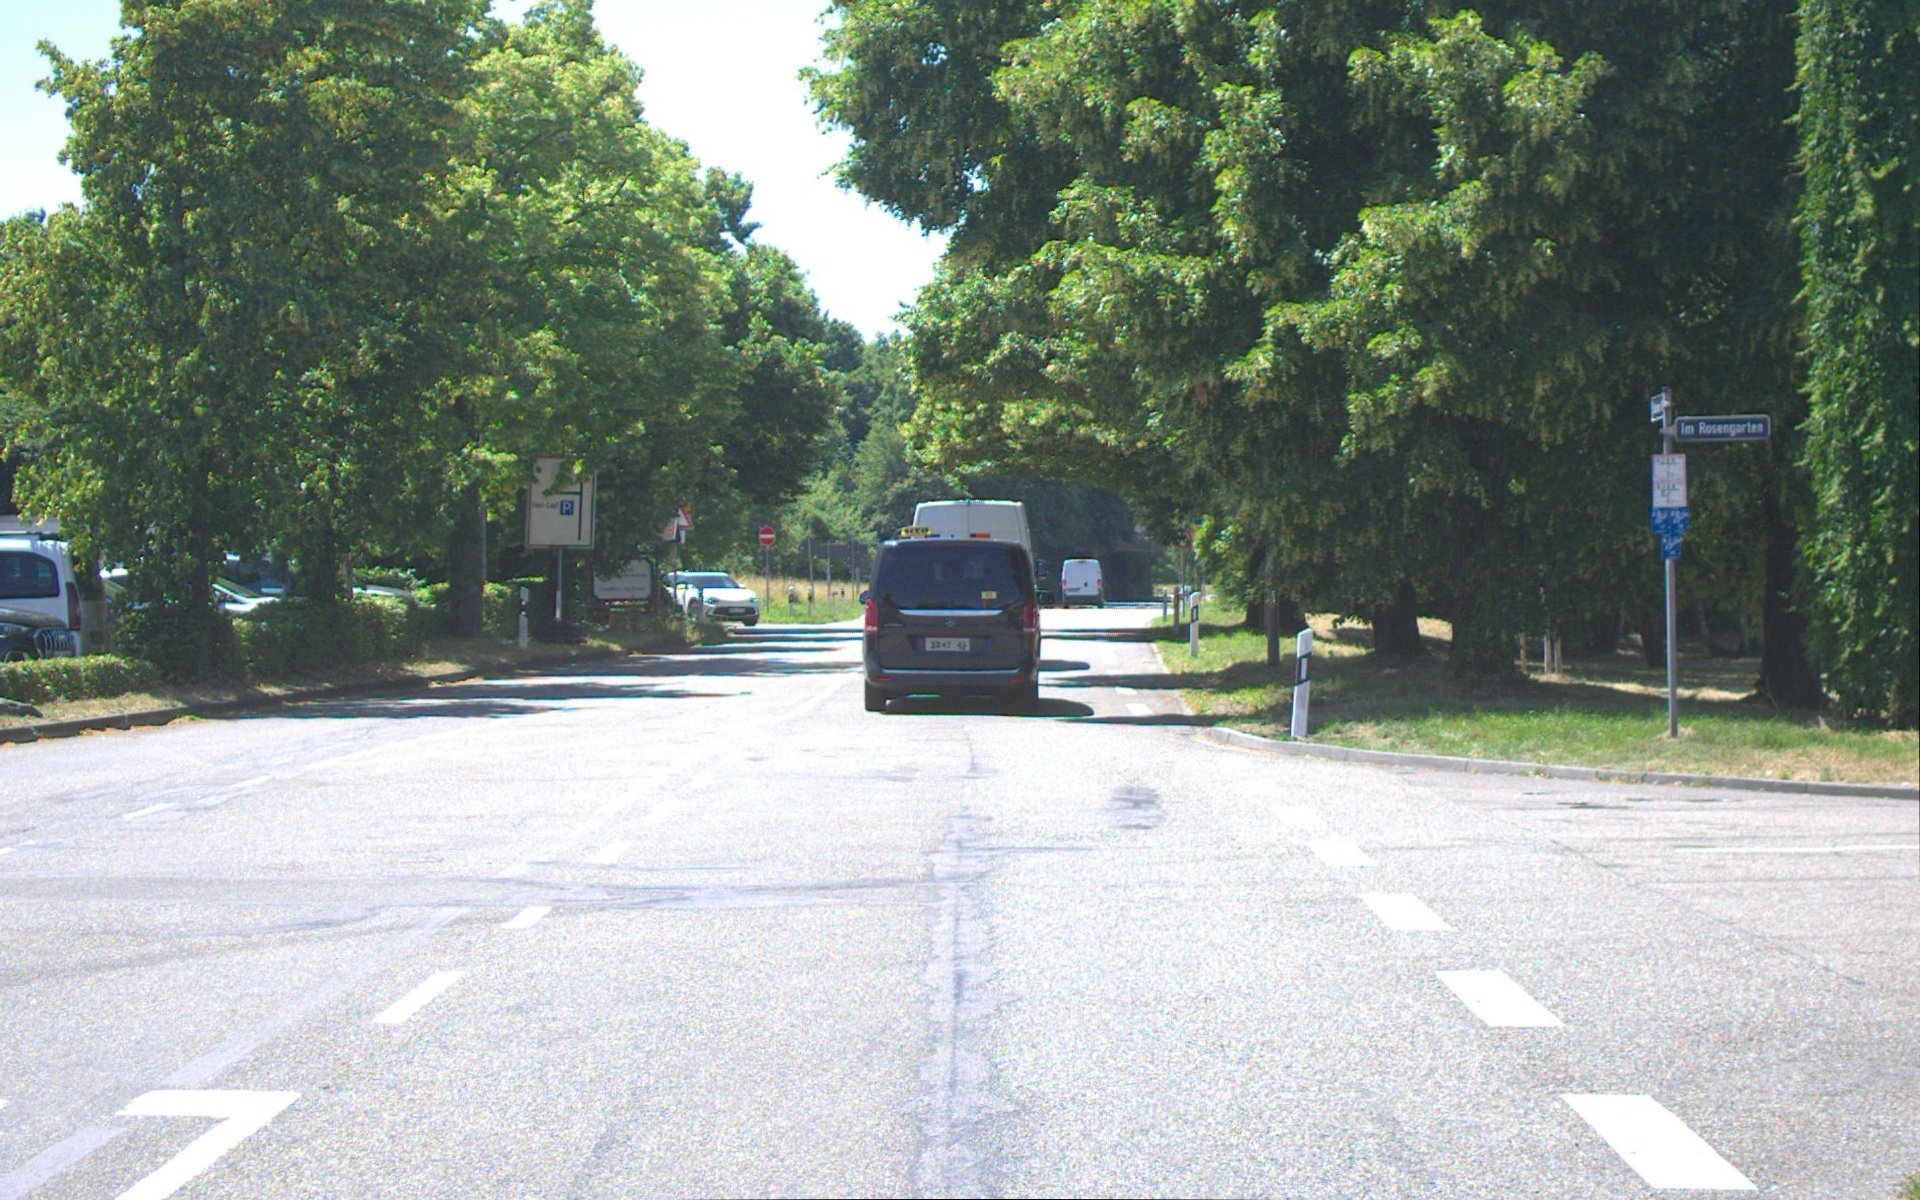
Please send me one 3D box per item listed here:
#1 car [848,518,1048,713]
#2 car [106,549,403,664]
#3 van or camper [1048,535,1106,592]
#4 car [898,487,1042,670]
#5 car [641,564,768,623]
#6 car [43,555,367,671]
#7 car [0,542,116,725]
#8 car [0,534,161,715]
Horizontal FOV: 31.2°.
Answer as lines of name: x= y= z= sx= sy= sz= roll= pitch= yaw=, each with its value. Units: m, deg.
car: x=-0.058 y=0.151 z=37.889 sx=1.993 sy=1.946 sz=5.004 roll=2 pitch=0 yaw=2
car: x=-11.537 y=0.096 z=56.426 sx=4.400 sy=1.770 sz=2.072 roll=1 pitch=0 yaw=0
van or camper: x=6.224 y=-1.931 z=182.775 sx=2.631 sy=2.919 sz=5.207 roll=1 pitch=0 yaw=-3
car: x=0.206 y=-0.329 z=53.980 sx=2.078 sy=2.693 sz=4.666 roll=2 pitch=0 yaw=2
car: x=-7.373 y=-0.211 z=98.848 sx=2.094 sy=1.583 sz=4.476 roll=1 pitch=0 yaw=-26
car: x=-11.279 y=0.190 z=51.554 sx=4.400 sy=1.614 sz=1.895 roll=1 pitch=0 yaw=0
car: x=-11.340 y=0.325 z=36.006 sx=4.386 sy=1.839 sz=2.103 roll=1 pitch=0 yaw=7
car: x=-11.406 y=0.260 z=38.724 sx=4.356 sy=1.973 sz=1.905 roll=1 pitch=0 yaw=-1
